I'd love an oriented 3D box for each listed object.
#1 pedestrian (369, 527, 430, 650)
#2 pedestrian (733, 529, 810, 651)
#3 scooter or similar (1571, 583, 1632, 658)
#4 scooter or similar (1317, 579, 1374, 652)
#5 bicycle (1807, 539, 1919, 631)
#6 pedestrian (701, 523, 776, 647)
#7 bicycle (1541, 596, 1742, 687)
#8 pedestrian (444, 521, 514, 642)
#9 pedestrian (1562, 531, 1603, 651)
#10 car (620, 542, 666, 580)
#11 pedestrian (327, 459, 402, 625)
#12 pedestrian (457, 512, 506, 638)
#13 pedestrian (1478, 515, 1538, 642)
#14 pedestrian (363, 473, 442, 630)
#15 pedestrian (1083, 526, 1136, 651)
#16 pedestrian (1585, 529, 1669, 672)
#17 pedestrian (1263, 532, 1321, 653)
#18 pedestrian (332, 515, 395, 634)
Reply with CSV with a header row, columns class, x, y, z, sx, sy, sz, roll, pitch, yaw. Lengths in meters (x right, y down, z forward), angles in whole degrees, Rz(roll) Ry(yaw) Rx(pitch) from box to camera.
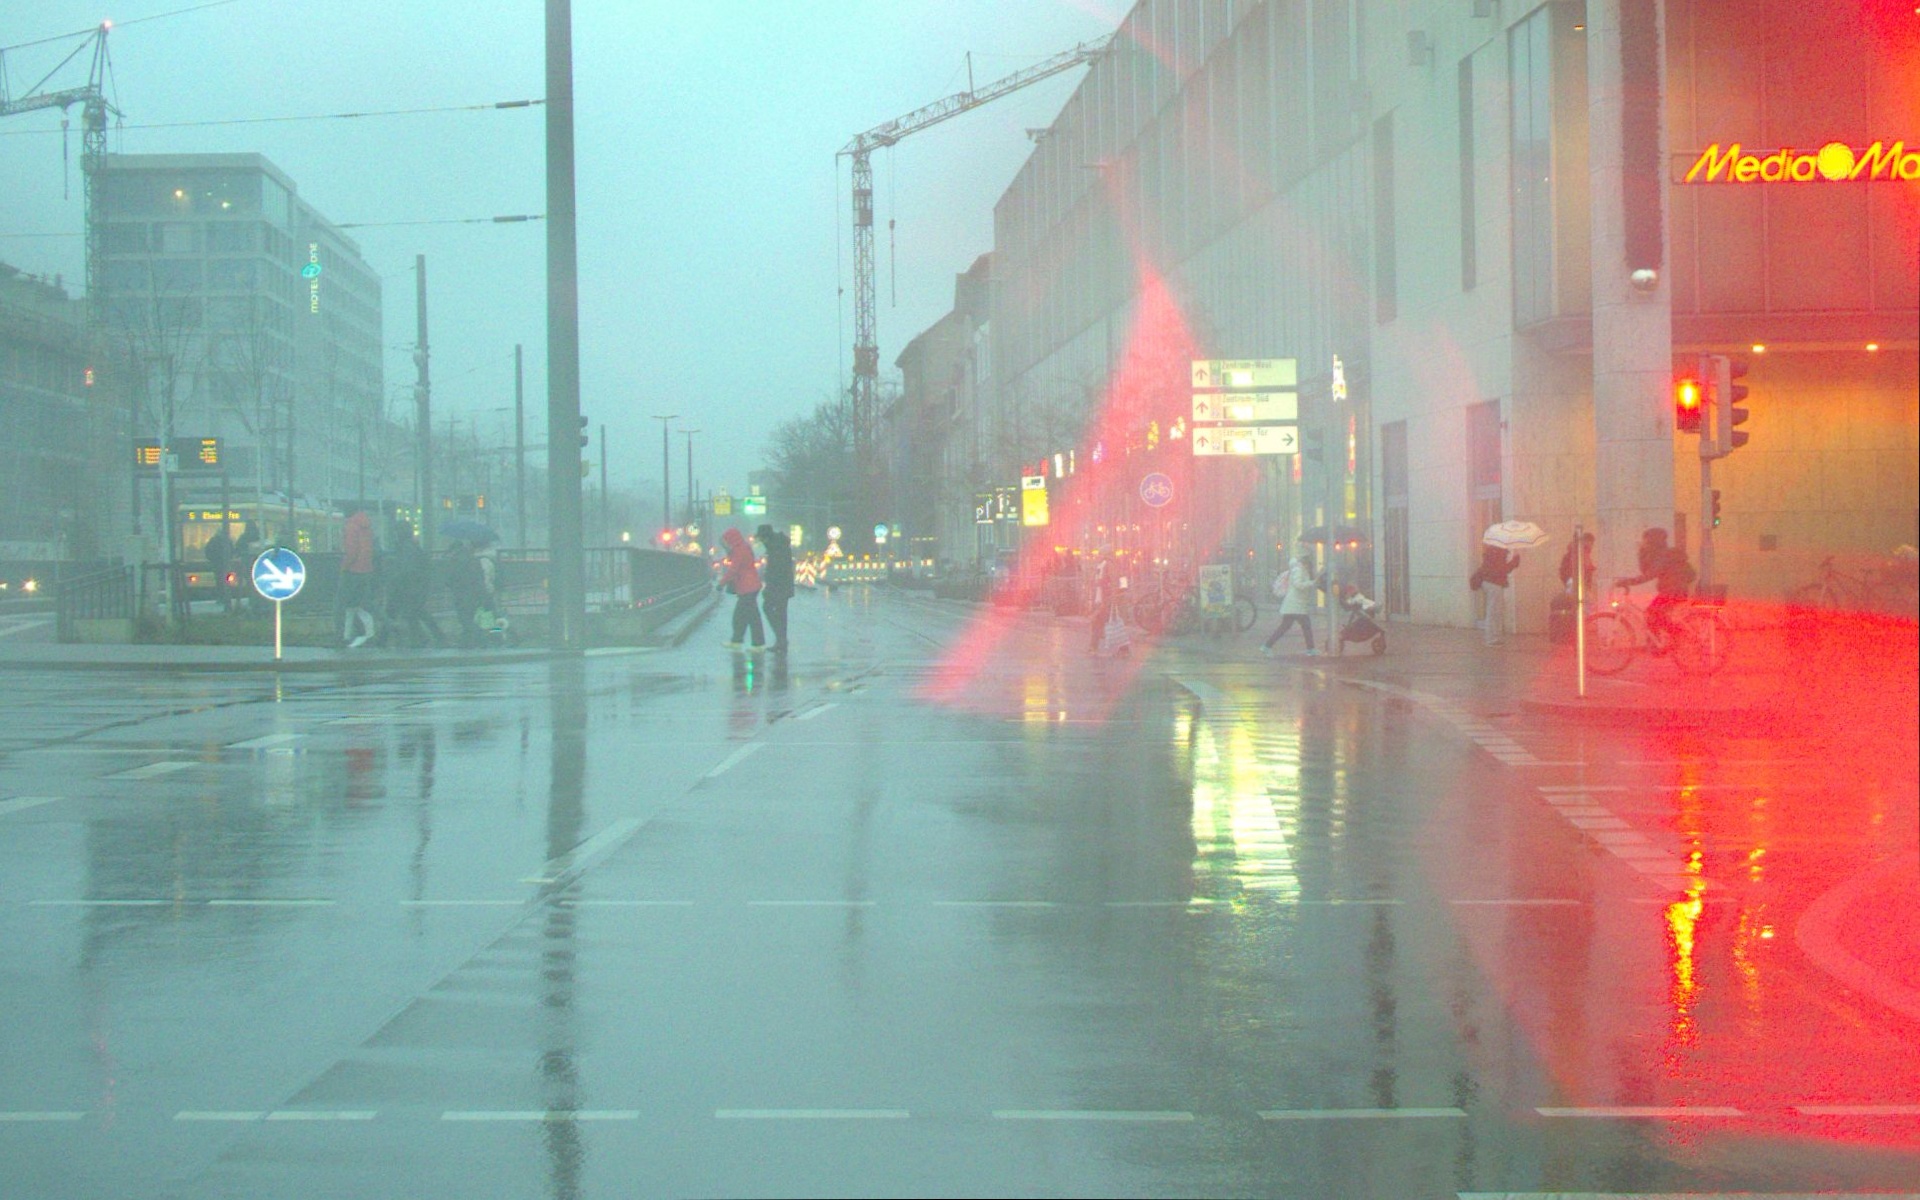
class,x,y,z,sx,sy,sz,roll,pitch,yaw
pedestrian,-7.455,-0.151,45.741,0.706,1.613,0.613,-1,1,-3
pedestrian,-2.617,-0.144,47.865,0.844,1.682,0.676,-1,1,20
scooter or similar,8.666,0.271,46.464,0.741,0.990,0.400,-1,1,1
scooter or similar,5.362,0.214,47.799,0.741,0.990,0.400,-1,1,12
bicycle,13.847,-0.232,50.951,2.424,1.325,0.635,-1,1,-5
pedestrian,-3.044,-0.209,47.278,0.831,1.673,0.619,-1,1,20
bicycle,7.595,0.459,38.350,2.128,0.988,0.541,1,0,2
pedestrian,-6.442,-0.252,46.053,0.809,1.602,0.745,-1,1,-1
pedestrian,9.190,-0.138,50.735,0.512,1.754,0.374,-1,1,-1
car,-15.245,-1.877,165.598,1.888,1.777,3.714,1,0,0
pedestrian,-7.552,-0.740,43.623,0.686,2.080,0.613,-2,1,-40
pedestrian,-6.729,-0.353,48.350,0.619,1.740,0.613,-1,1,-6
pedestrian,7.647,-0.300,47.998,0.702,1.754,0.667,-1,1,-1
pedestrian,-7.215,-0.631,44.515,0.775,2.007,0.613,-1,1,-38
pedestrian,2.126,-0.163,48.936,0.703,1.754,0.652,-1,1,-1
pedestrian,7.440,0.004,38.347,0.814,1.564,0.536,-1,1,1
pedestrian,4.627,-0.105,47.944,0.741,1.661,0.400,-1,1,12
pedestrian,-8.181,-0.353,47.147,0.706,1.613,0.680,-1,1,1
